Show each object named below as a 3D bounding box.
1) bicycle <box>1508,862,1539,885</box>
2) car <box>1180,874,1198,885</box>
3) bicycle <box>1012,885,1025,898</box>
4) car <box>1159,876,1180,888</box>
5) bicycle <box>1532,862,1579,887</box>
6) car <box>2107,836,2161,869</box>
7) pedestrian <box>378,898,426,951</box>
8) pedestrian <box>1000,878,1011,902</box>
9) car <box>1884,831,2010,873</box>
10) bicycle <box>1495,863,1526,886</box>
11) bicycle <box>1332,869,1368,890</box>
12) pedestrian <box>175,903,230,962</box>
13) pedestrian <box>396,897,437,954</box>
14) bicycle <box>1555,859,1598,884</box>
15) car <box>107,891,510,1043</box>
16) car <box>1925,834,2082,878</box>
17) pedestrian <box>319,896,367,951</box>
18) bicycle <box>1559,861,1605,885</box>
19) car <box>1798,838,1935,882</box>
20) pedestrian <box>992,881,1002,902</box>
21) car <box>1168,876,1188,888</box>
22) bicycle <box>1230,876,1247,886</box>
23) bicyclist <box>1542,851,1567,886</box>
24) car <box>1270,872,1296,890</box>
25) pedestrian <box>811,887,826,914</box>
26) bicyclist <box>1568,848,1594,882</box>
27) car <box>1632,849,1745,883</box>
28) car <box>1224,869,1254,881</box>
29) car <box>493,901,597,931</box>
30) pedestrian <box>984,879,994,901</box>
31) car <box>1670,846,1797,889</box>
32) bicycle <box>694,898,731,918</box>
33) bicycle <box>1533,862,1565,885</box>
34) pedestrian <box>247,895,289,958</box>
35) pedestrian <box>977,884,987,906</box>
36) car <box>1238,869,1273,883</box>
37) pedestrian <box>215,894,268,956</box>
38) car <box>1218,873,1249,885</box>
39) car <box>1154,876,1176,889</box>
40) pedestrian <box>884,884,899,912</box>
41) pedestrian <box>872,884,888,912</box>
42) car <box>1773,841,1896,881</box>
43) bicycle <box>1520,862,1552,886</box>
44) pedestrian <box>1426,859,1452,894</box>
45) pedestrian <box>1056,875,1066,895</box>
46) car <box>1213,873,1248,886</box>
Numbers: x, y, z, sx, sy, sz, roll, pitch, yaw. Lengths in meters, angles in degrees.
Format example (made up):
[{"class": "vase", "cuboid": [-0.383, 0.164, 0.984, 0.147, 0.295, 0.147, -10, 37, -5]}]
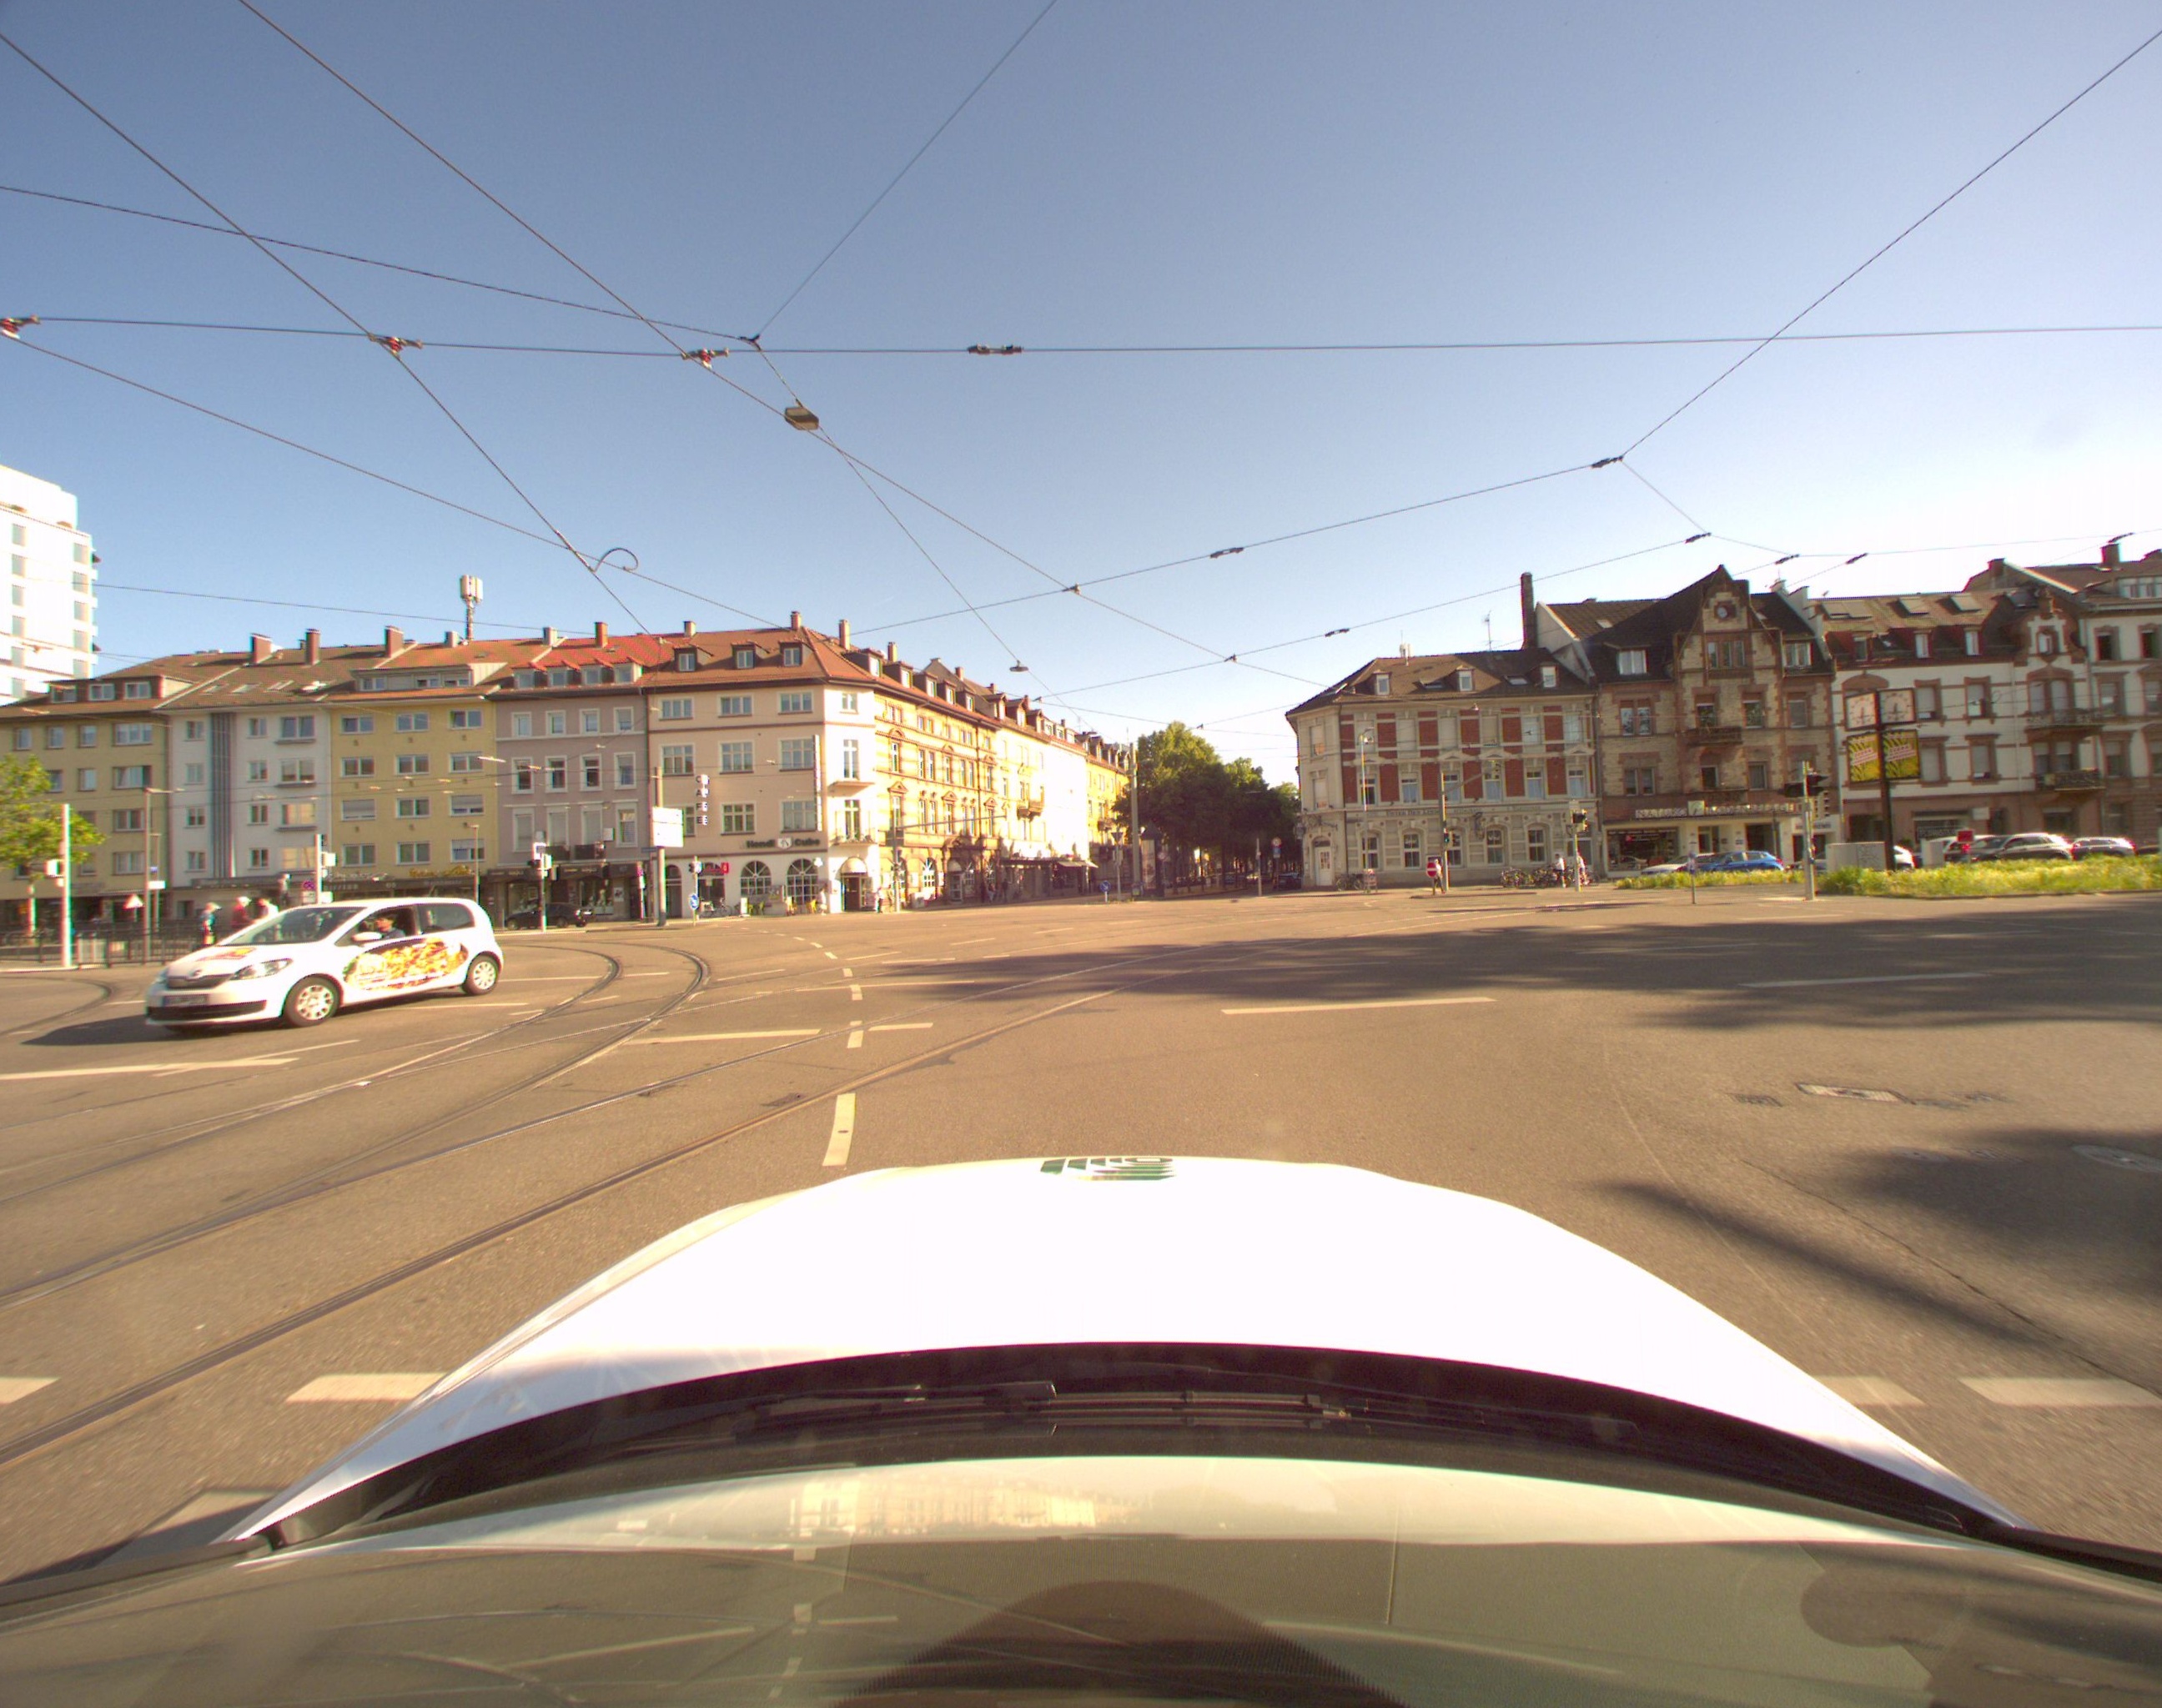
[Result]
[{"class": "bicycle", "cuboid": [23.832, 1.029, 43.875, 0.674, 1.191, 1.969, -3, -1, 4]}, {"class": "car", "cuboid": [16.259, 3.891, 122.780, 1.978, 1.497, 4.051, -3, -1, 17]}, {"class": "bicycle", "cuboid": [-5.486, 3.322, 71.531, 0.491, 1.067, 1.778, -3, -2, 19]}, {"class": "car", "cuboid": [11.811, 3.738, 108.460, 1.978, 1.497, 4.051, -3, -1, 17]}, {"class": "bicycle", "cuboid": [24.233, 1.042, 41.596, 1.951, 1.191, 0.602, -3, -2, 5]}, {"class": "car", "cuboid": [57.595, -0.108, 43.076, 3.971, 1.668, 1.956, -3, -1, 2]}, {"class": "pedestrian", "cuboid": [-23.112, 2.392, 27.727, 0.833, 1.733, 0.908, -3, -2, 10]}, {"class": "pedestrian", "cuboid": [-5.975, 2.874, 64.570, 0.575, 1.836, 0.636, -3, -2, 19]}, {"class": "car", "cuboid": [45.838, -0.086, 43.174, 4.387, 1.965, 1.956, -3, -2, 2]}, {"class": "bicycle", "cuboid": [23.134, 1.119, 43.878, 0.674, 1.191, 1.969, -3, -1, 4]}, {"class": "bicycle", "cuboid": [15.920, 1.508, 48.211, 1.950, 1.191, 0.547, -3, -2, 7]}, {"class": "pedestrian", "cuboid": [-25.516, 2.266, 23.656, 0.855, 1.631, 0.812, -3, -2, 20]}, {"class": "pedestrian", "cuboid": [-21.246, 2.274, 26.048, 0.650, 1.733, 0.800, -2, -2, -3]}, {"class": "bicycle", "cuboid": [26.365, 0.937, 43.359, 1.960, 1.191, 0.677, -2, -2, -9]}, {"class": "car", "cuboid": [-9.661, 1.309, 10.640, 1.711, 1.497, 3.586, -3, -1, 3]}, {"class": "car", "cuboid": [40.087, 0.118, 35.485, 4.455, 1.668, 1.956, -3, -1, 2]}, {"class": "pedestrian", "cuboid": [-24.505, 2.304, 27.049, 0.782, 1.733, 0.825, -3, -2, 8]}, {"class": "bicycle", "cuboid": [26.106, 0.986, 42.445, 1.956, 1.191, 0.601, -3, -2, -3]}, {"class": "car", "cuboid": [34.329, 0.282, 35.671, 3.971, 1.668, 1.956, -3, -1, 2]}, {"class": "pedestrian", "cuboid": [-6.602, 2.968, 64.036, 0.546, 1.642, 0.635, -3, -2, 14]}, {"class": "car", "cuboid": [13.585, 3.850, 113.797, 1.978, 1.497, 4.051, -3, -1, 17]}, {"class": "bicycle", "cuboid": [17.459, 3.015, 90.255, 0.586, 1.067, 1.929, -1, -2, -33]}, {"class": "bicyclist", "cuboid": [24.199, 0.746, 41.609, 0.868, 1.764, 0.602, -3, -2, 5]}, {"class": "car", "cuboid": [18.258, 2.430, 73.368, 1.978, 1.497, 4.051, -3, -1, 17]}, {"class": "pedestrian", "cuboid": [-15.281, 2.723, 47.473, 0.657, 1.524, 0.693, -2, -2, -7]}, {"class": "bicyclist", "cuboid": [26.076, 0.575, 42.454, 0.901, 1.764, 0.601, -2, -2, -2]}, {"class": "car", "cuboid": [29.044, 0.600, 39.021, 3.971, 1.412, 1.846, -3, -1, 2]}, {"class": "car", "cuboid": [24.305, 3.206, 125.134, 3.948, 1.545, 2.013, -4, -2, 31]}, {"class": "car", "cuboid": [-29.984, 3.459, 45.667, 4.624, 1.440, 1.744, -2, -2, 0]}, {"class": "pedestrian", "cuboid": [-7.219, 2.830, 64.045, 0.547, 1.642, 0.539, -3, -2, 12]}, {"class": "car", "cuboid": [28.793, 0.620, 36.031, 3.971, 1.668, 1.956, -3, -1, 2]}, {"class": "bicycle", "cuboid": [-22.250, 3.244, 49.157, 1.939, 1.067, 0.582, -2, -2, -5]}, {"class": "bicycle", "cuboid": [25.154, 1.027, 43.809, 0.674, 1.191, 1.969, -3, -1, 4]}, {"class": "pedestrian", "cuboid": [-23.528, 2.078, 23.575, 0.779, 1.733, 0.828, -4, -2, 44]}, {"class": "pedestrian", "cuboid": [-7.775, 3.205, 64.018, 0.622, 1.642, 0.539, -3, -2, 13]}, {"class": "car", "cuboid": [23.025, 2.914, 107.341, 3.948, 1.545, 2.013, -4, -2, 33]}, {"class": "pedestrian", "cuboid": [-24.476, 2.069, 23.744, 0.815, 1.724, 0.853, -3, -2, 25]}, {"class": "car", "cuboid": [22.366, 3.622, 119.134, 3.948, 1.545, 2.013, -4, -2, 31]}, {"class": "car", "cuboid": [10.804, 3.636, 104.185, 1.978, 1.497, 4.051, -3, -1, 17]}, {"class": "pedestrian", "cuboid": [-11.528, 2.669, 49.540, 0.626, 1.642, 0.555, -3, -2, 16]}, {"class": "pedestrian", "cuboid": [-11.889, 2.603, 48.098, 0.670, 1.642, 0.581, -3, -2, 16]}, {"class": "car", "cuboid": [35.818, 0.334, 38.799, 3.971, 1.668, 1.956, -3, -1, 2]}, {"class": "bicycle", "cuboid": [24.483, 1.069, 43.846, 0.674, 1.191, 1.969, -3, -1, 4]}, {"class": "pedestrian", "cuboid": [17.788, 1.118, 40.476, 0.715, 1.669, 0.937, -2, -2, -8]}, {"class": "pedestrian", "cuboid": [-1.917, 3.007, 78.796, 0.676, 1.908, 0.636, -3, -2, 19]}, {"class": "car", "cuboid": [19.555, 3.301, 106.617, 3.948, 1.545, 2.013, -4, -2, 31]}]
